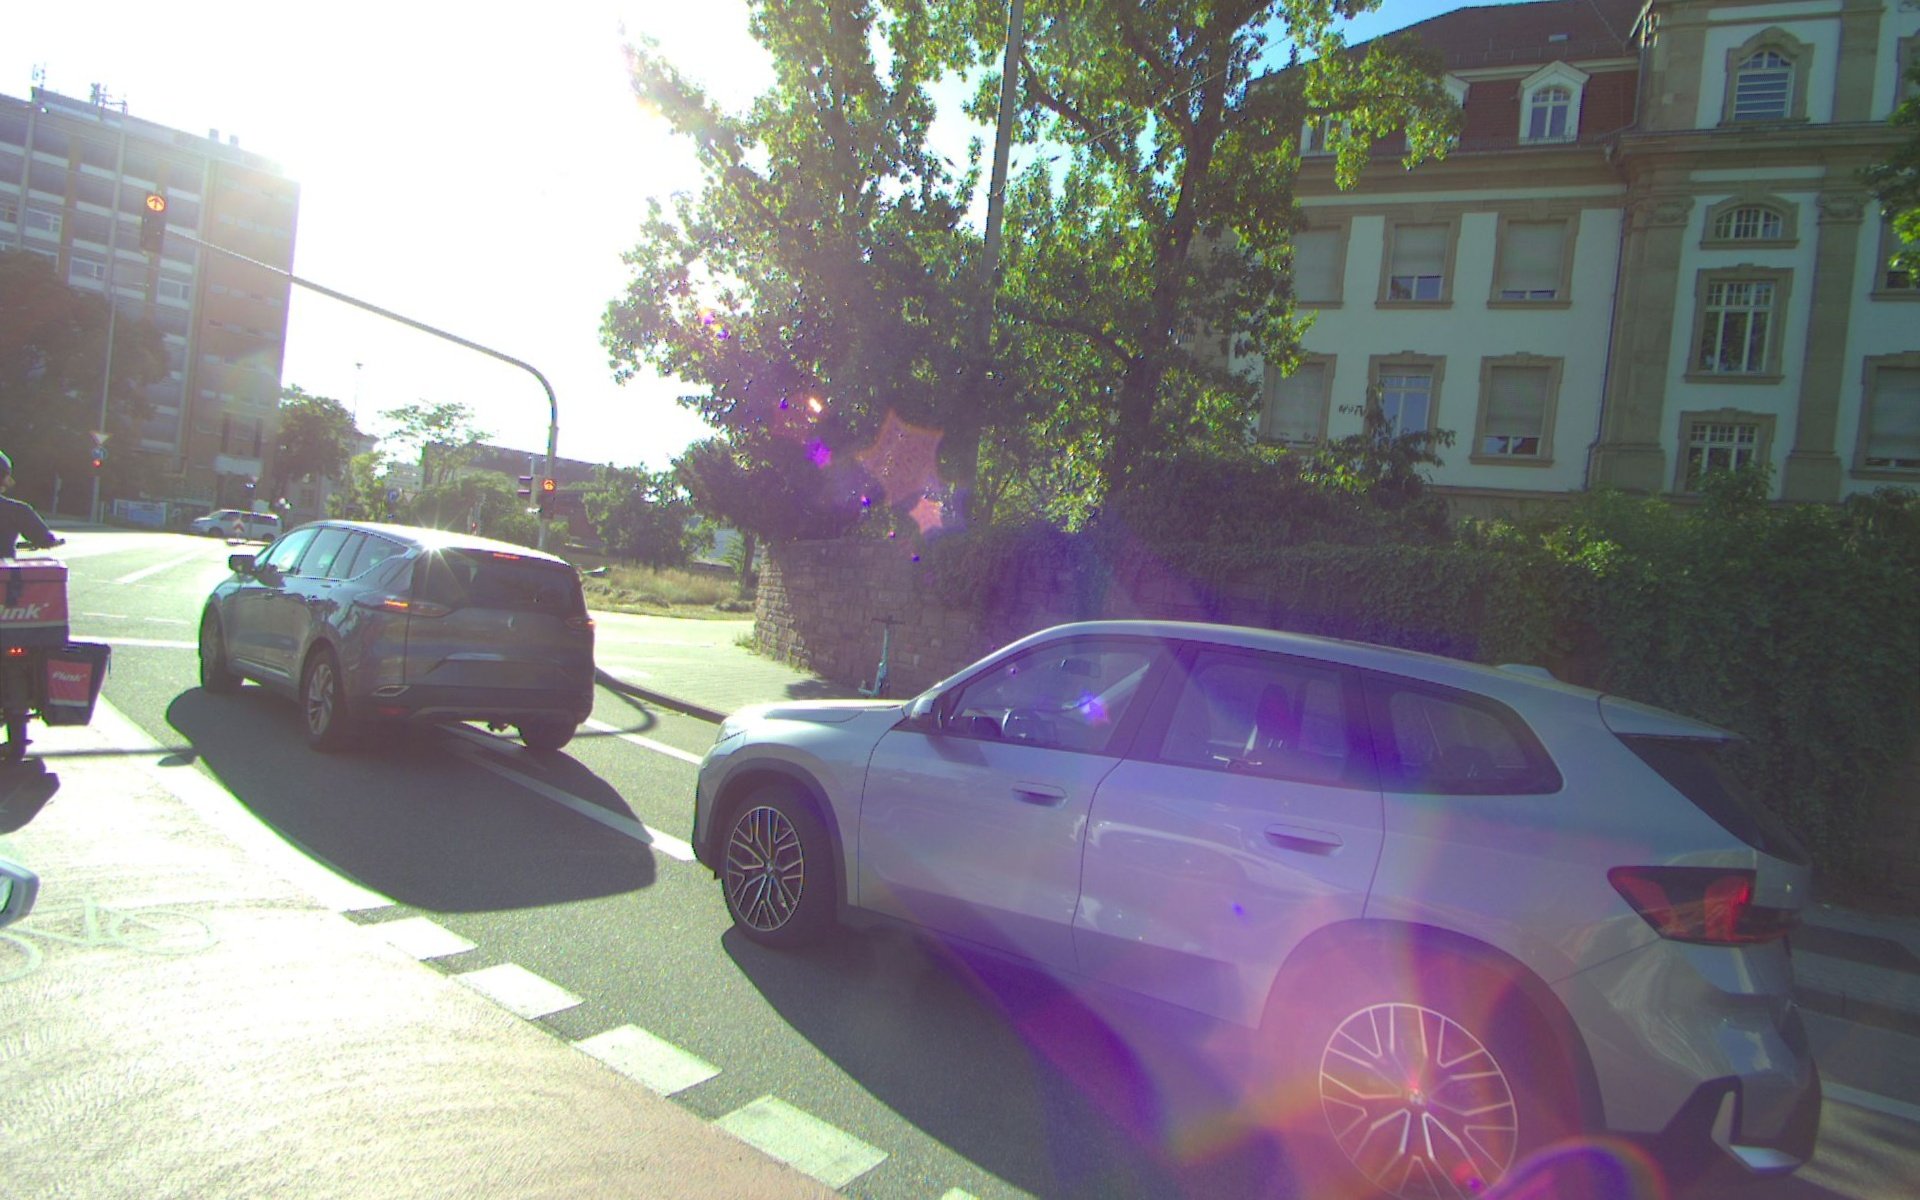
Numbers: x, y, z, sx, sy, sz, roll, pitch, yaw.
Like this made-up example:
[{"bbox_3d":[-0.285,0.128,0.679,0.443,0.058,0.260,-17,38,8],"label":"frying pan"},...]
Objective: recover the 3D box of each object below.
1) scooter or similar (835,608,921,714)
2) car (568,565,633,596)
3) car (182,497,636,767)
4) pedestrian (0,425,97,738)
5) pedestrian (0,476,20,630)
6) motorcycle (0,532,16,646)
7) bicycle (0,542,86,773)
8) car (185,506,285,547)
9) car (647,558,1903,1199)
[{"bbox_3d":[-1.156,0.819,13.880,0.569,1.285,1.414,6,0,-27],"label":"scooter or similar"},{"bbox_3d":[-29.378,-1.623,82.235,4.647,1.969,1.903,7,0,-25],"label":"car"},{"bbox_3d":[-4.838,0.163,8.553,4.307,1.709,1.830,6,-2,40],"label":"car"},{"bbox_3d":[-6.216,-0.146,6.391,0.943,1.890,0.806,6,-1,40],"label":"pedestrian"},{"bbox_3d":[-8.711,-0.301,8.746,0.585,1.617,1.013,8,-1,-41],"label":"pedestrian"},{"bbox_3d":[-8.935,-0.082,8.920,0.611,1.110,2.334,8,-2,-41],"label":"motorcycle"},{"bbox_3d":[-5.991,0.256,6.177,2.340,1.185,0.553,6,-2,42],"label":"bicycle"},{"bbox_3d":[-46.346,-4.669,64.414,1.883,1.969,4.696,7,0,31],"label":"car"},{"bbox_3d":[0.826,0.882,4.241,4.263,1.612,1.788,6,-2,37],"label":"car"}]
